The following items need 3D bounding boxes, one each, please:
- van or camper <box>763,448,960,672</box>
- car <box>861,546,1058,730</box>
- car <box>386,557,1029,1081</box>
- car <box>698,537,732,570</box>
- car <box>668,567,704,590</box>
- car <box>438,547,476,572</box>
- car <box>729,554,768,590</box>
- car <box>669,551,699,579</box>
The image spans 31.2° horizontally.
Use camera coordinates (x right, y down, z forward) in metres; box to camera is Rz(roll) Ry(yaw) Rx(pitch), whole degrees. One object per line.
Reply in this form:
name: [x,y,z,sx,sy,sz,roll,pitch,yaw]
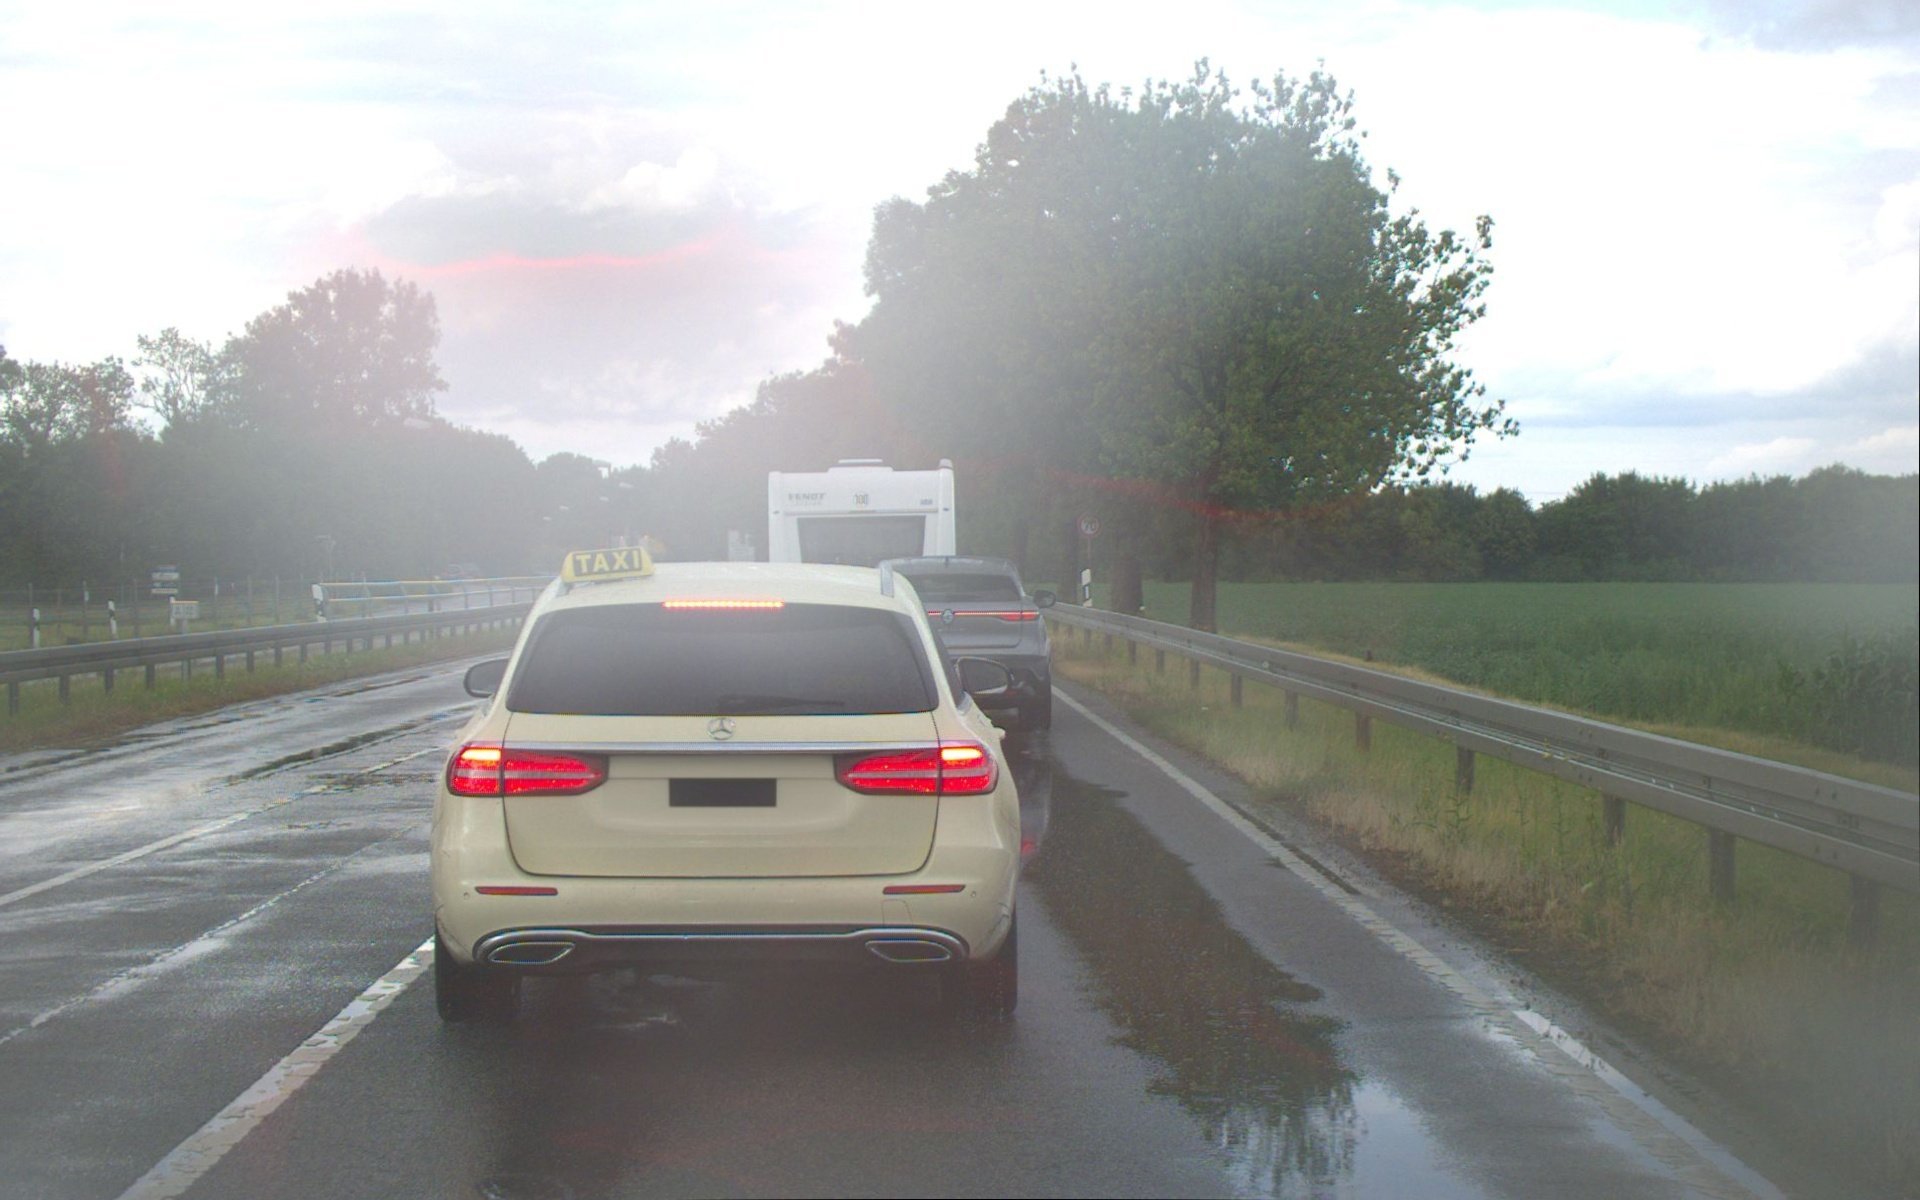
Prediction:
van or camper: [-1.208,-0.534,43.967,2.350,2.671,5.769,0,1,-1]
car: [-0.027,0.285,30.541,1.627,1.524,3.933,0,1,-1]
car: [-0.705,0.597,11.869,1.825,1.480,4.145,0,1,0]
car: [-15.097,-2.872,211.728,1.993,2.007,4.001,0,1,-3]
car: [-15.769,-1.259,197.974,1.758,1.265,4.000,0,1,-1]
car: [-34.213,-2.754,233.944,1.993,1.645,4.000,0,1,1]
car: [-12.223,-1.651,199.154,1.993,2.044,4.000,0,1,0]
car: [-19.853,-2.545,247.212,1.993,2.007,4.001,0,1,-6]
